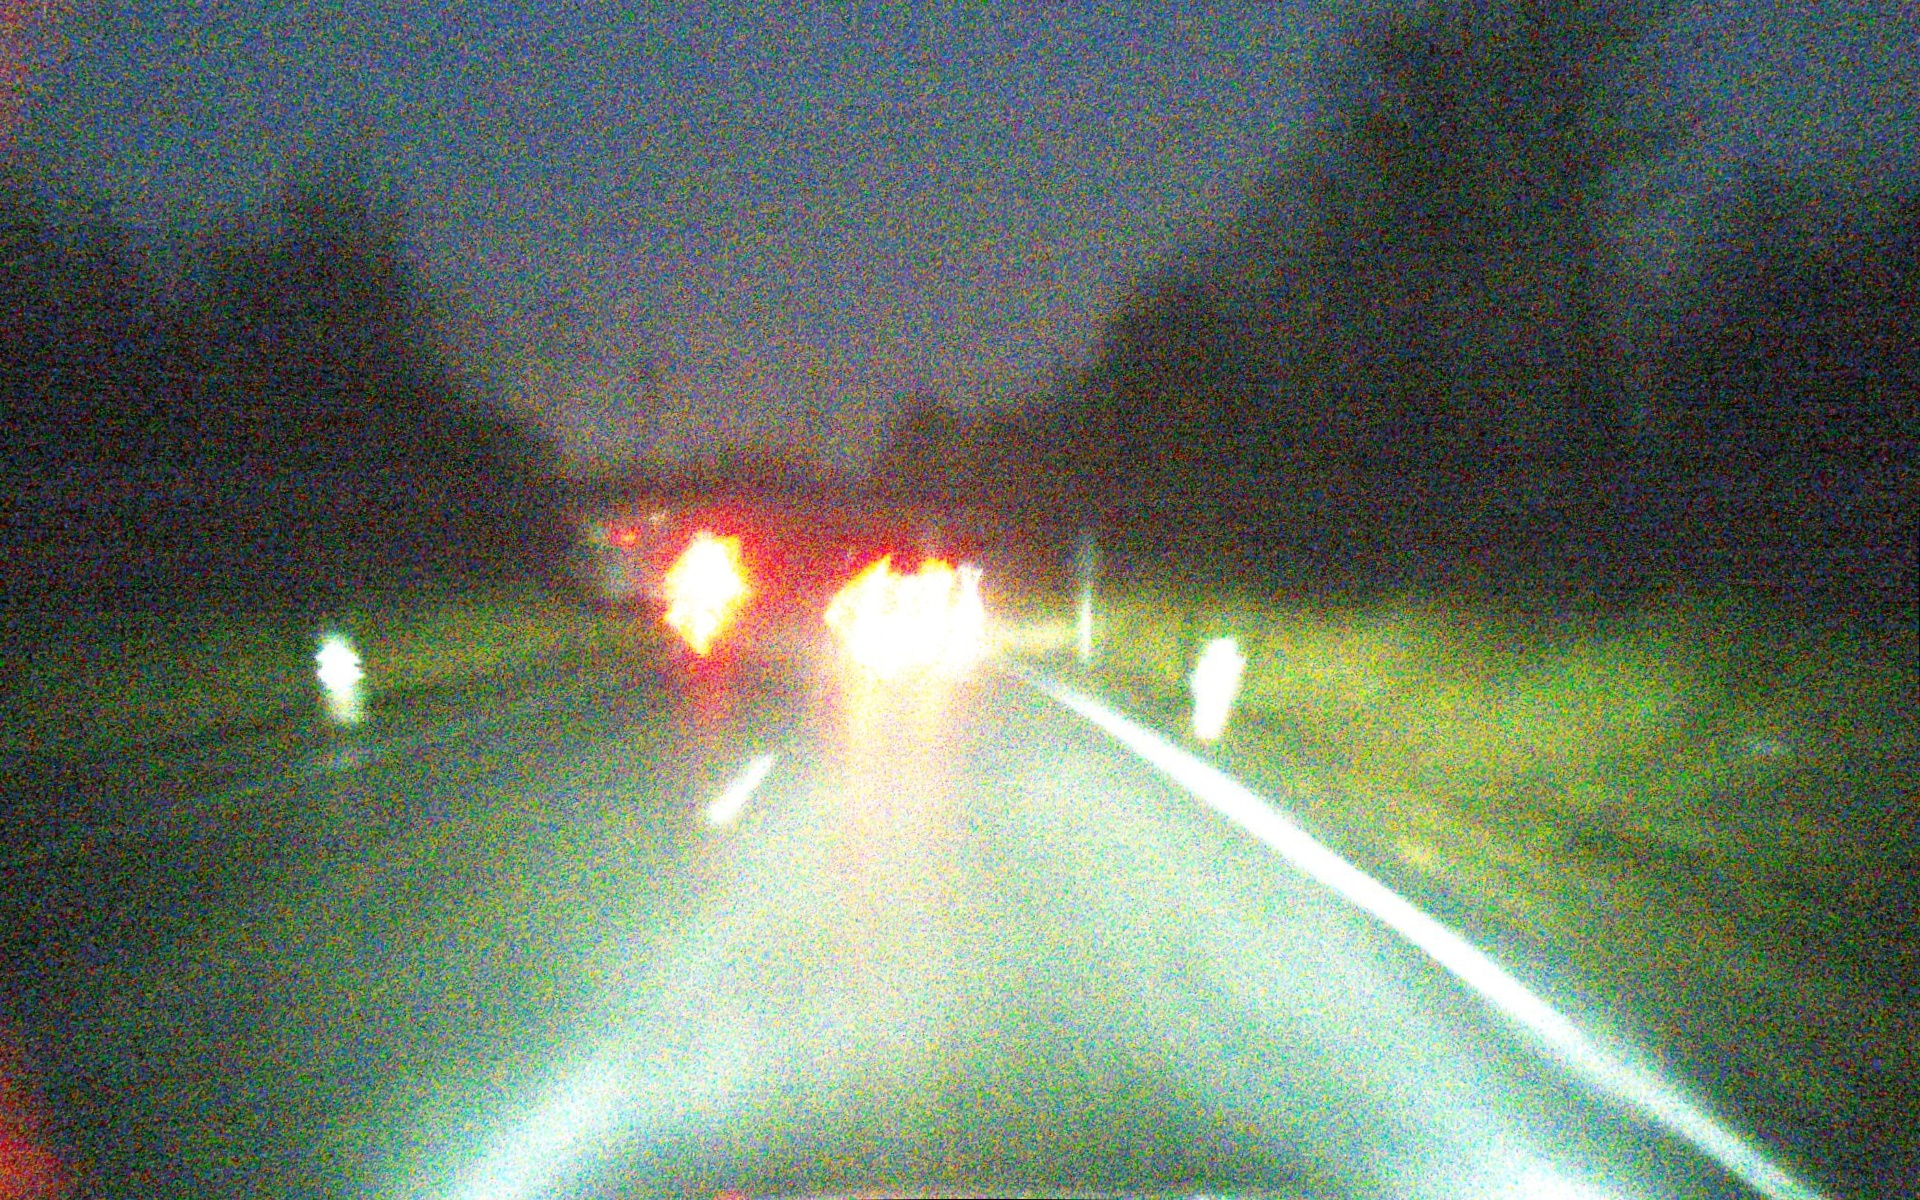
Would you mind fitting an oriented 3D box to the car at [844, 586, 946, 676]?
[{"bbox_3d":[-1.401,0.580,34.606,1.954,1.656,4.982,1,1,-3],"label":"car"}]
